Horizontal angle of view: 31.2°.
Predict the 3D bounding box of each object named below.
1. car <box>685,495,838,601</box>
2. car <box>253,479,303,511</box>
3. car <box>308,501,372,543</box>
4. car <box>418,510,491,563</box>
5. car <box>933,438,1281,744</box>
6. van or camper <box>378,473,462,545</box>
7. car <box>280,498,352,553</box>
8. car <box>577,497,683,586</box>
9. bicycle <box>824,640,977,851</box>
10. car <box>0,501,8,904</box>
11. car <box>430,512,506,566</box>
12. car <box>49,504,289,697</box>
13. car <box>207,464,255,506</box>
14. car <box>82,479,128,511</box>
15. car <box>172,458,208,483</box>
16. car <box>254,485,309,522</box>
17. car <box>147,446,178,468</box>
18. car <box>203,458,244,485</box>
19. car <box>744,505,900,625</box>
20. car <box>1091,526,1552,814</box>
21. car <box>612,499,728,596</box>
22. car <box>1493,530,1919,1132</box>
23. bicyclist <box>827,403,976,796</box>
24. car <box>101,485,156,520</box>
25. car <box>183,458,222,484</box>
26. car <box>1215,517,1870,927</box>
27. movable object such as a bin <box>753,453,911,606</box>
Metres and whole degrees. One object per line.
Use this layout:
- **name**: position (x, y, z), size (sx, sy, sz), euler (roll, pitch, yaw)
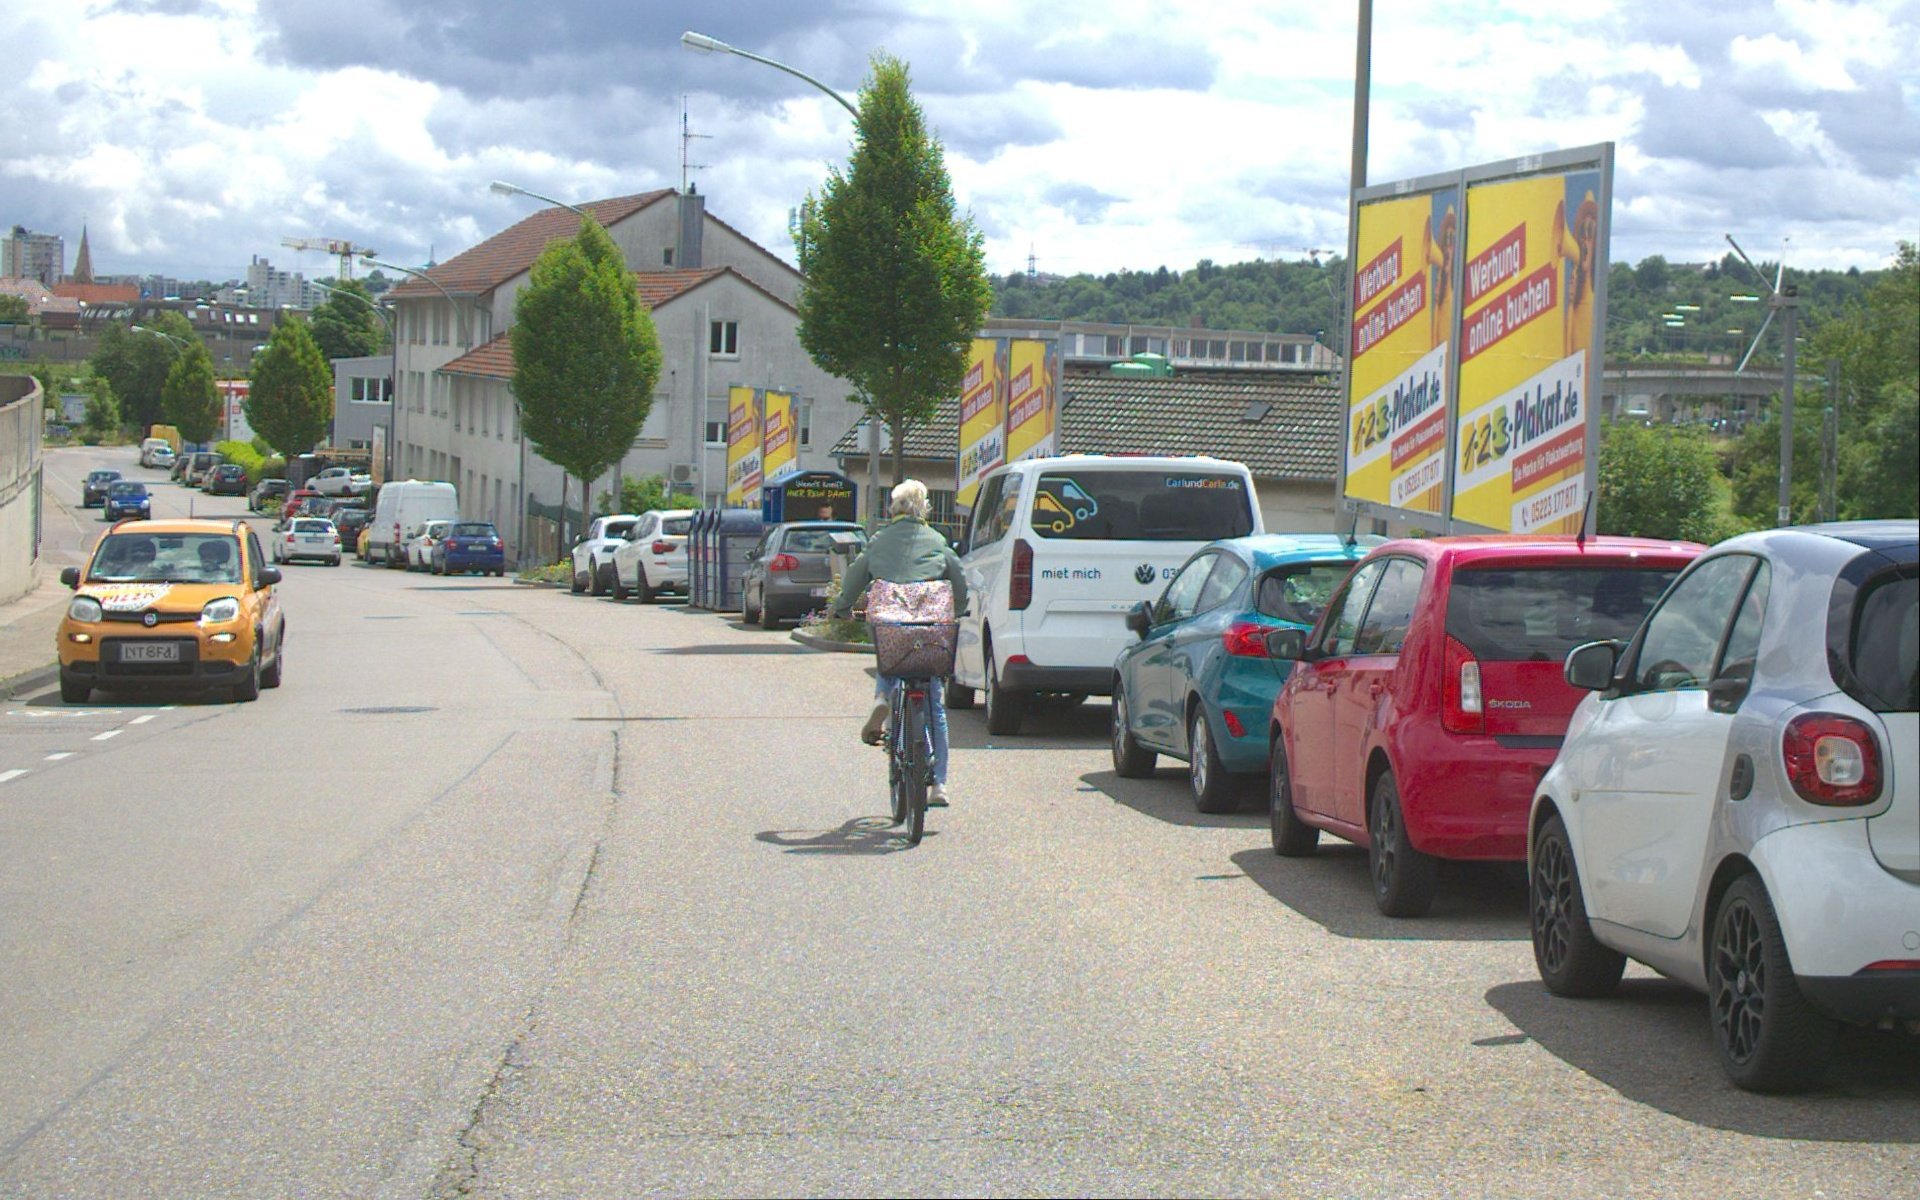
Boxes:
- **car**: position (-3.338, -0.886, 57.137), size (2.134, 1.700, 4.001), euler (0, 1, -9)
- **car**: position (-30.311, -4.657, 152.752), size (1.993, 1.415, 4.001), euler (0, 1, -14)
- **car**: position (-21.543, -2.714, 119.428), size (1.993, 1.459, 4.001), euler (0, 1, -13)
- **car**: position (-14.485, -1.831, 98.485), size (1.993, 1.459, 4.001), euler (0, 1, -9)
- **car**: position (0.980, -0.113, 25.770), size (1.993, 2.007, 4.919), euler (2, 1, -4)
- **van or camper**: position (-16.220, -2.743, 103.192), size (1.993, 2.007, 4.002), euler (3, 1, -15)
- **car**: position (-19.375, -2.254, 103.333), size (1.993, 1.612, 4.001), euler (0, 1, -13)
- **car**: position (-6.582, -1.175, 68.231), size (1.842, 1.700, 4.001), euler (0, 1, -9)
- **bicycle**: position (-0.277, 0.670, 16.557), size (0.687, 0.875, 2.102), euler (0, 1, -1)
- **car**: position (-4.367, 0.439, 11.158), size (1.702, 1.556, 4.329), euler (0, 1, -5)
- **car**: position (-13.491, -1.679, 94.167), size (1.993, 1.459, 4.001), euler (0, 1, -9)
- **car**: position (-6.861, -0.044, 30.146), size (1.708, 1.568, 4.001), euler (0, 1, -8)
- **car**: position (-37.880, -5.997, 178.526), size (1.993, 2.007, 4.002), euler (3, 1, -17)
- **car**: position (-38.271, -4.704, 153.866), size (1.993, 1.415, 4.001), euler (0, 1, -14)
- **car**: position (-45.748, -7.680, 204.167), size (1.993, 1.415, 4.001), euler (0, 1, -14)
- **car**: position (-27.047, -3.822, 136.976), size (1.993, 1.459, 4.001), euler (0, 1, -13)
- **car**: position (-54.689, -9.789, 235.621), size (1.993, 1.415, 4.001), euler (0, 1, -14)
- **car**: position (-39.167, -6.819, 182.811), size (1.993, 1.415, 4.001), euler (0, 1, -14)
- **car**: position (-1.984, -0.524, 48.422), size (1.993, 1.612, 4.001), euler (0, 1, -5)
- **car**: position (1.897, 0.313, 19.118), size (1.903, 1.437, 3.545), euler (0, 1, -5)
- **car**: position (-5.300, -0.973, 62.508), size (1.813, 1.700, 4.001), euler (0, 1, -9)
- **car**: position (2.774, 0.551, 10.137), size (1.793, 1.501, 2.907), euler (0, 1, -4)
- **bicyclist**: position (-0.276, -0.014, 16.452), size (0.684, 1.819, 1.080), euler (0, 1, -1)
- **car**: position (-33.836, -3.965, 139.958), size (1.993, 1.415, 4.001), euler (0, 1, -11)
- **car**: position (-42.373, -7.219, 192.256), size (1.993, 1.415, 4.001), euler (0, 1, -14)
- **car**: position (2.300, 0.399, 14.670), size (1.875, 1.503, 4.001), euler (0, 1, -4)
- **movable object such as a bin**: position (-1.997, -1.087, 53.026), size (2.134, 2.295, 2.558), euler (0, 1, -9)
